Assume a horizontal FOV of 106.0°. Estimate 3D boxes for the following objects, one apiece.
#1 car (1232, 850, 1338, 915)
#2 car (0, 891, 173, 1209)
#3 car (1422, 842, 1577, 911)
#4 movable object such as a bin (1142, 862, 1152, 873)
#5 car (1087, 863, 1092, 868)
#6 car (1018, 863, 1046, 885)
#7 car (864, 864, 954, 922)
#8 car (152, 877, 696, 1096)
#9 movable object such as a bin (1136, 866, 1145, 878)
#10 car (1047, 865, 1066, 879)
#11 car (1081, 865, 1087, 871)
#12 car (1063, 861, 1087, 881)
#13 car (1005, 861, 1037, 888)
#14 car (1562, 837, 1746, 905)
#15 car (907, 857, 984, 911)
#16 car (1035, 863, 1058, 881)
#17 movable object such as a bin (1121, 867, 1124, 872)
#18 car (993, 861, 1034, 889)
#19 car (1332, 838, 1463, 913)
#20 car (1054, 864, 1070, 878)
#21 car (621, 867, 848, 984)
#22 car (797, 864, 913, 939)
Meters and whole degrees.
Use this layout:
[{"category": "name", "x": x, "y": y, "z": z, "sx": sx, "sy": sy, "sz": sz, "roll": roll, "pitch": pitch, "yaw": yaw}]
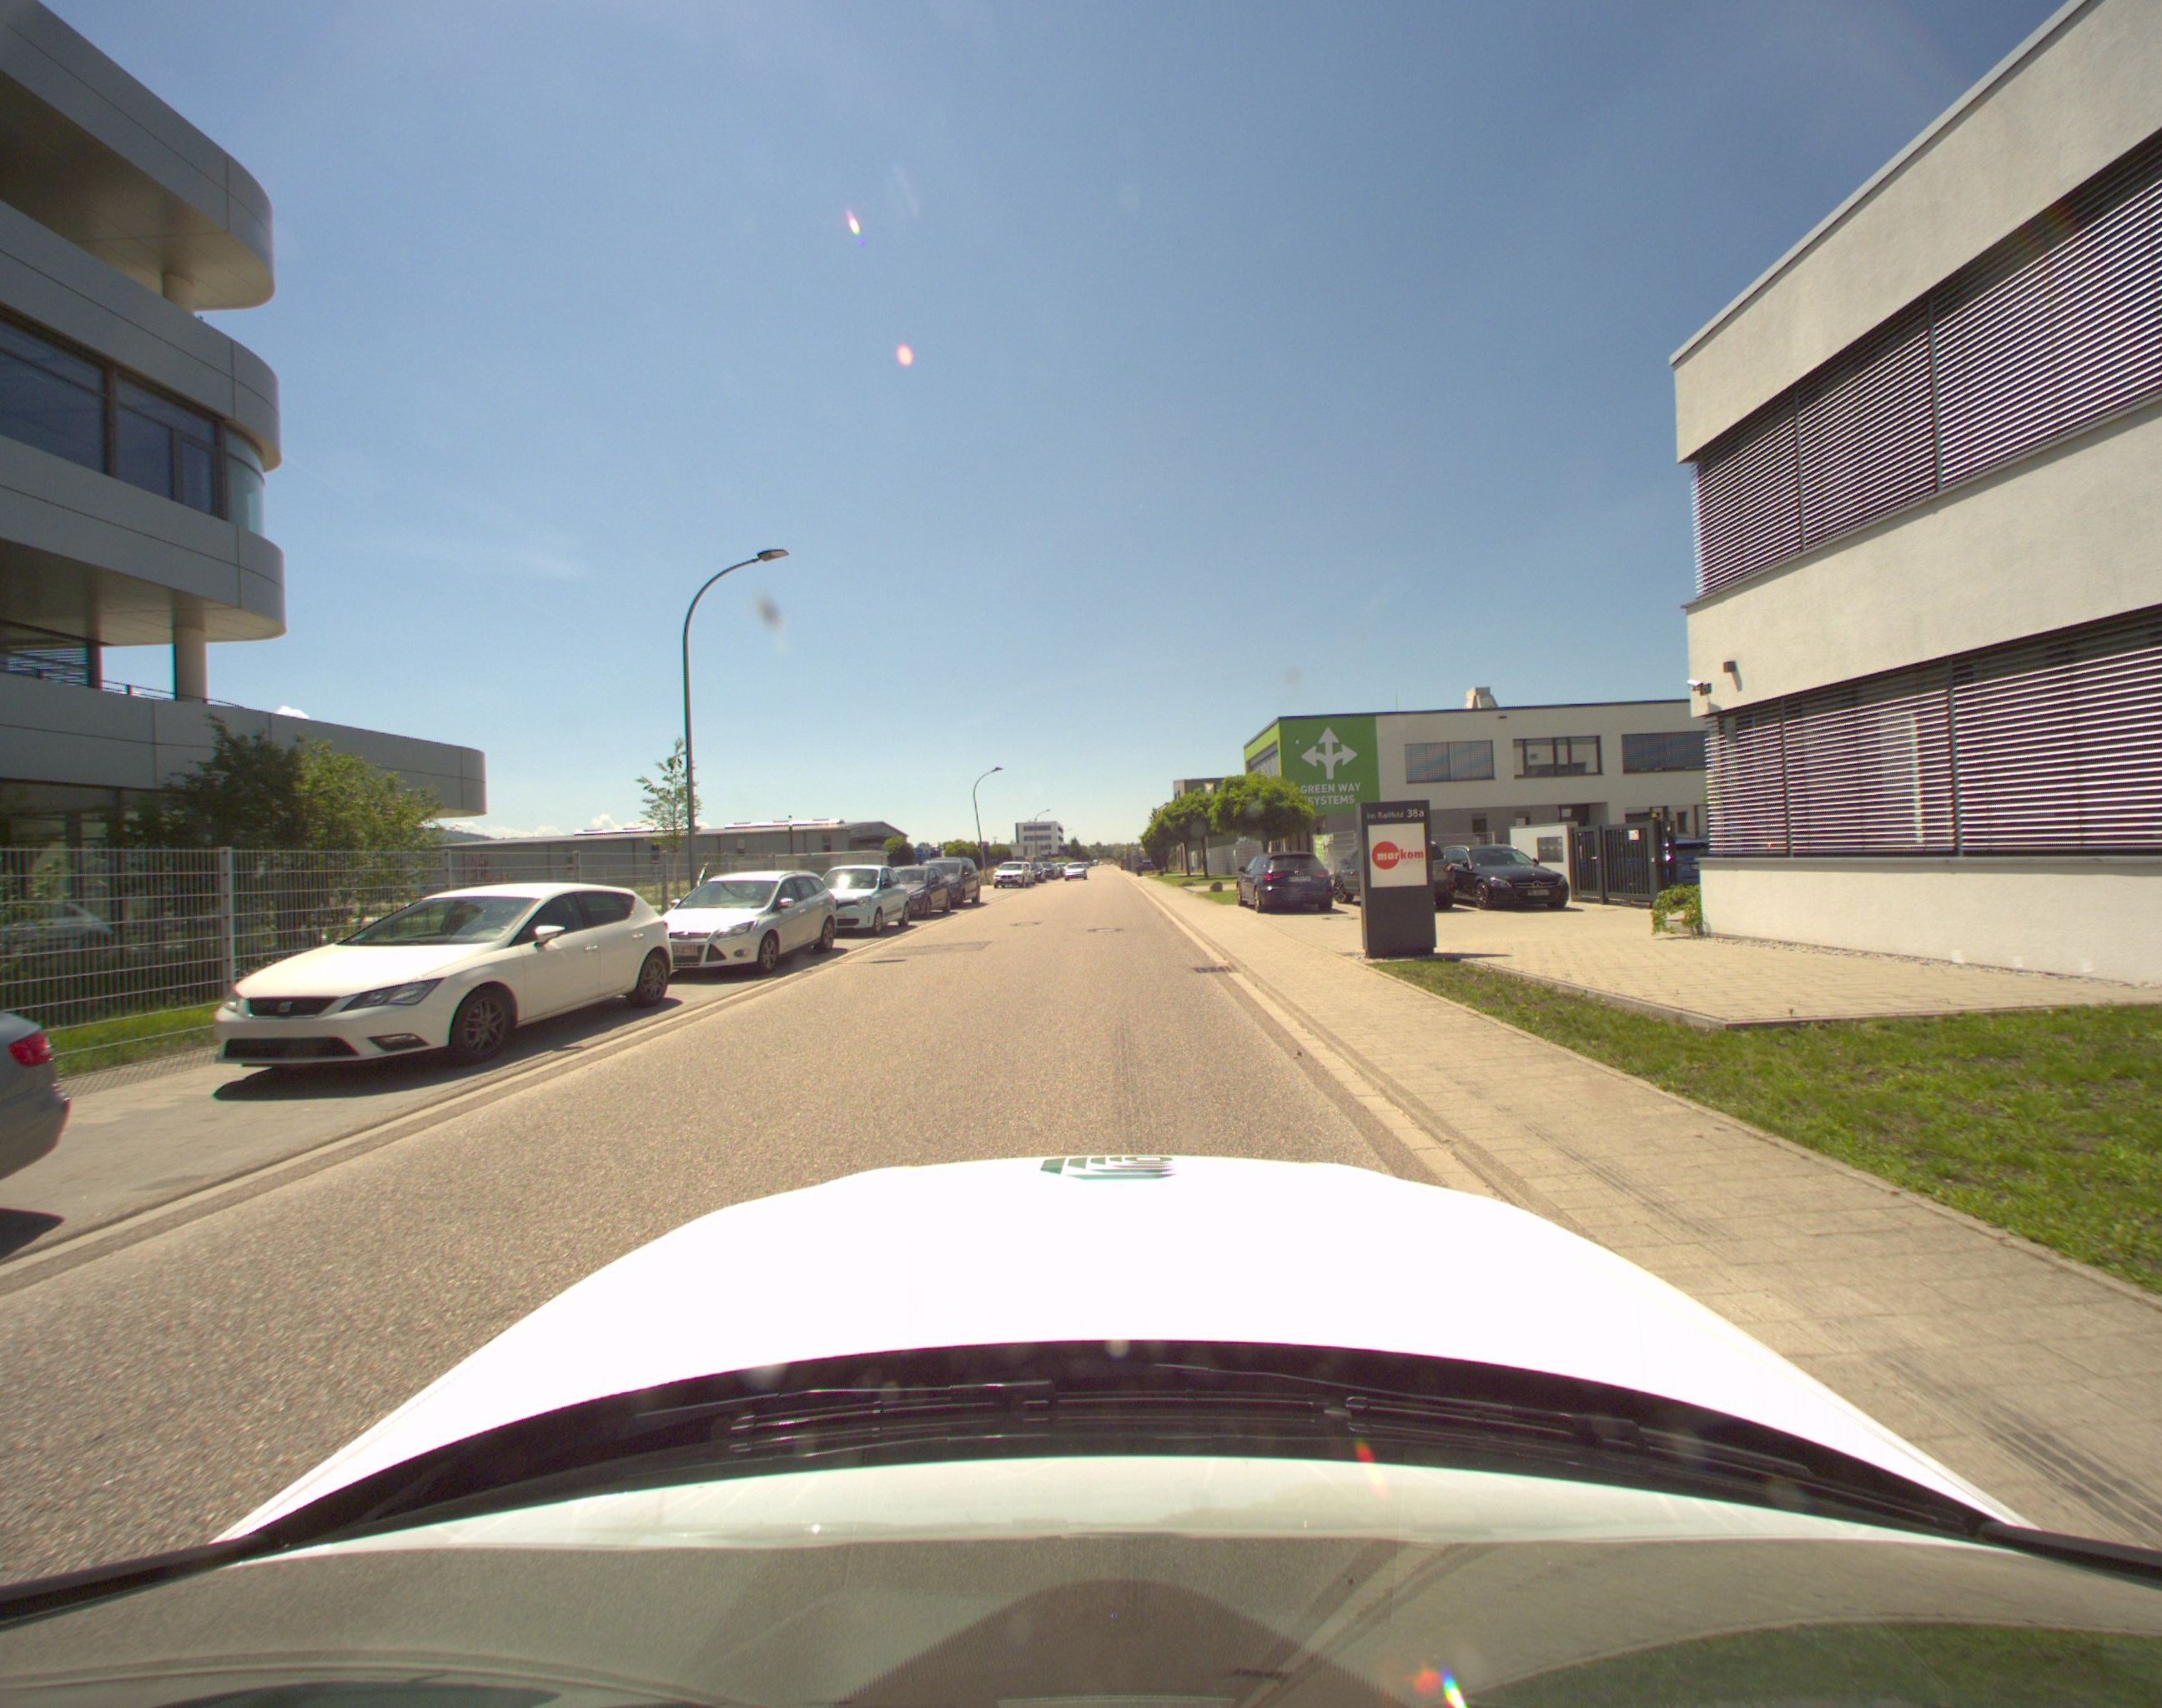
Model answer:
[{"category": "car", "x": 4.995, "y": 0.665, "z": 20.477, "sx": 1.686, "sy": 1.428, "sz": 4.247, "roll": -1, "pitch": -1, "yaw": 2}, {"category": "car", "x": -5.735, "y": 0.920, "z": 1.985, "sx": 1.677, "sy": 1.386, "sz": 4.642, "roll": -2, "pitch": 0, "yaw": 2}, {"category": "car", "x": 9.843, "y": 0.496, "z": 19.521, "sx": 1.716, "sy": 1.449, "sz": 4.024, "roll": -1, "pitch": -1, "yaw": 2}, {"category": "movable object such as a bin", "x": 9.458, "y": 1.892, "z": 116.353, "sx": 1.329, "sy": 1.459, "sz": 0.949, "roll": -3, "pitch": -1, "yaw": 1}, {"category": "car", "x": 2.710, "y": 3.681, "z": 261.209, "sx": 1.638, "sy": 1.490, "sz": 3.209, "roll": -2, "pitch": -1, "yaw": 2}, {"category": "car", "x": -3.668, "y": 1.499, "z": 61.718, "sx": 1.757, "sy": 1.517, "sz": 4.381, "roll": -1, "pitch": -1, "yaw": 1}, {"category": "car", "x": -4.960, "y": 1.083, "z": 24.017, "sx": 1.628, "sy": 1.500, "sz": 3.974, "roll": -1, "pitch": -1, "yaw": 3}, {"category": "car", "x": -5.750, "y": 1.011, "z": 8.044, "sx": 1.697, "sy": 1.444, "sz": 4.440, "roll": -1, "pitch": -1, "yaw": 1}, {"category": "movable object such as a bin", "x": 5.088, "y": 1.528, "z": 69.713, "sx": 0.548, "sy": 0.928, "sz": 0.523, "roll": -6, "pitch": -2, "yaw": 11}, {"category": "car", "x": -2.766, "y": 1.986, "z": 91.591, "sx": 1.850, "sy": 1.481, "sz": 4.230, "roll": -1, "pitch": -1, "yaw": 2}, {"category": "car", "x": 0.835, "y": 3.501, "z": 206.232, "sx": 1.461, "sy": 1.490, "sz": 3.209, "roll": -2, "pitch": -1, "yaw": 2}, {"category": "car", "x": -0.486, "y": 1.365, "z": 67.160, "sx": 1.698, "sy": 1.411, "sz": 4.785, "roll": -4, "pitch": -1, "yaw": 2}, {"category": "car", "x": -3.979, "y": 1.351, "z": 54.436, "sx": 1.781, "sy": 1.656, "sz": 3.768, "roll": -2, "pitch": -1, "yaw": 1}, {"category": "car", "x": 13.702, "y": 0.386, "z": 19.807, "sx": 1.716, "sy": 1.436, "sz": 4.024, "roll": -1, "pitch": -1, "yaw": 2}, {"category": "car", "x": -4.717, "y": 0.998, "z": 28.954, "sx": 1.796, "sy": 1.719, "sz": 4.624, "roll": -1, "pitch": -1, "yaw": 2}, {"category": "car", "x": -3.160, "y": 1.648, "z": 75.066, "sx": 1.784, "sy": 1.607, "sz": 4.463, "roll": -1, "pitch": -1, "yaw": 1}, {"category": "movable object such as a bin", "x": 8.073, "y": 2.988, "z": 158.335, "sx": 0.549, "sy": 0.928, "sz": 0.522, "roll": -7, "pitch": 0, "yaw": 6}, {"category": "car", "x": -4.045, "y": 1.247, "z": 49.300, "sx": 1.779, "sy": 1.542, "sz": 4.368, "roll": -2, "pitch": -1, "yaw": 4}, {"category": "car", "x": 7.616, "y": 0.492, "z": 20.022, "sx": 1.716, "sy": 1.633, "sz": 4.024, "roll": -1, "pitch": -1, "yaw": 2}, {"category": "car", "x": -2.362, "y": 2.081, "z": 100.735, "sx": 1.763, "sy": 1.592, "sz": 4.360, "roll": -1, "pitch": -1, "yaw": 1}, {"category": "car", "x": -5.387, "y": 1.007, "z": 13.422, "sx": 1.697, "sy": 1.536, "sz": 4.572, "roll": -1, "pitch": -1, "yaw": 1}, {"category": "car", "x": -5.166, "y": 1.028, "z": 19.097, "sx": 1.629, "sy": 1.536, "sz": 3.658, "roll": -1, "pitch": -1, "yaw": 1}]
